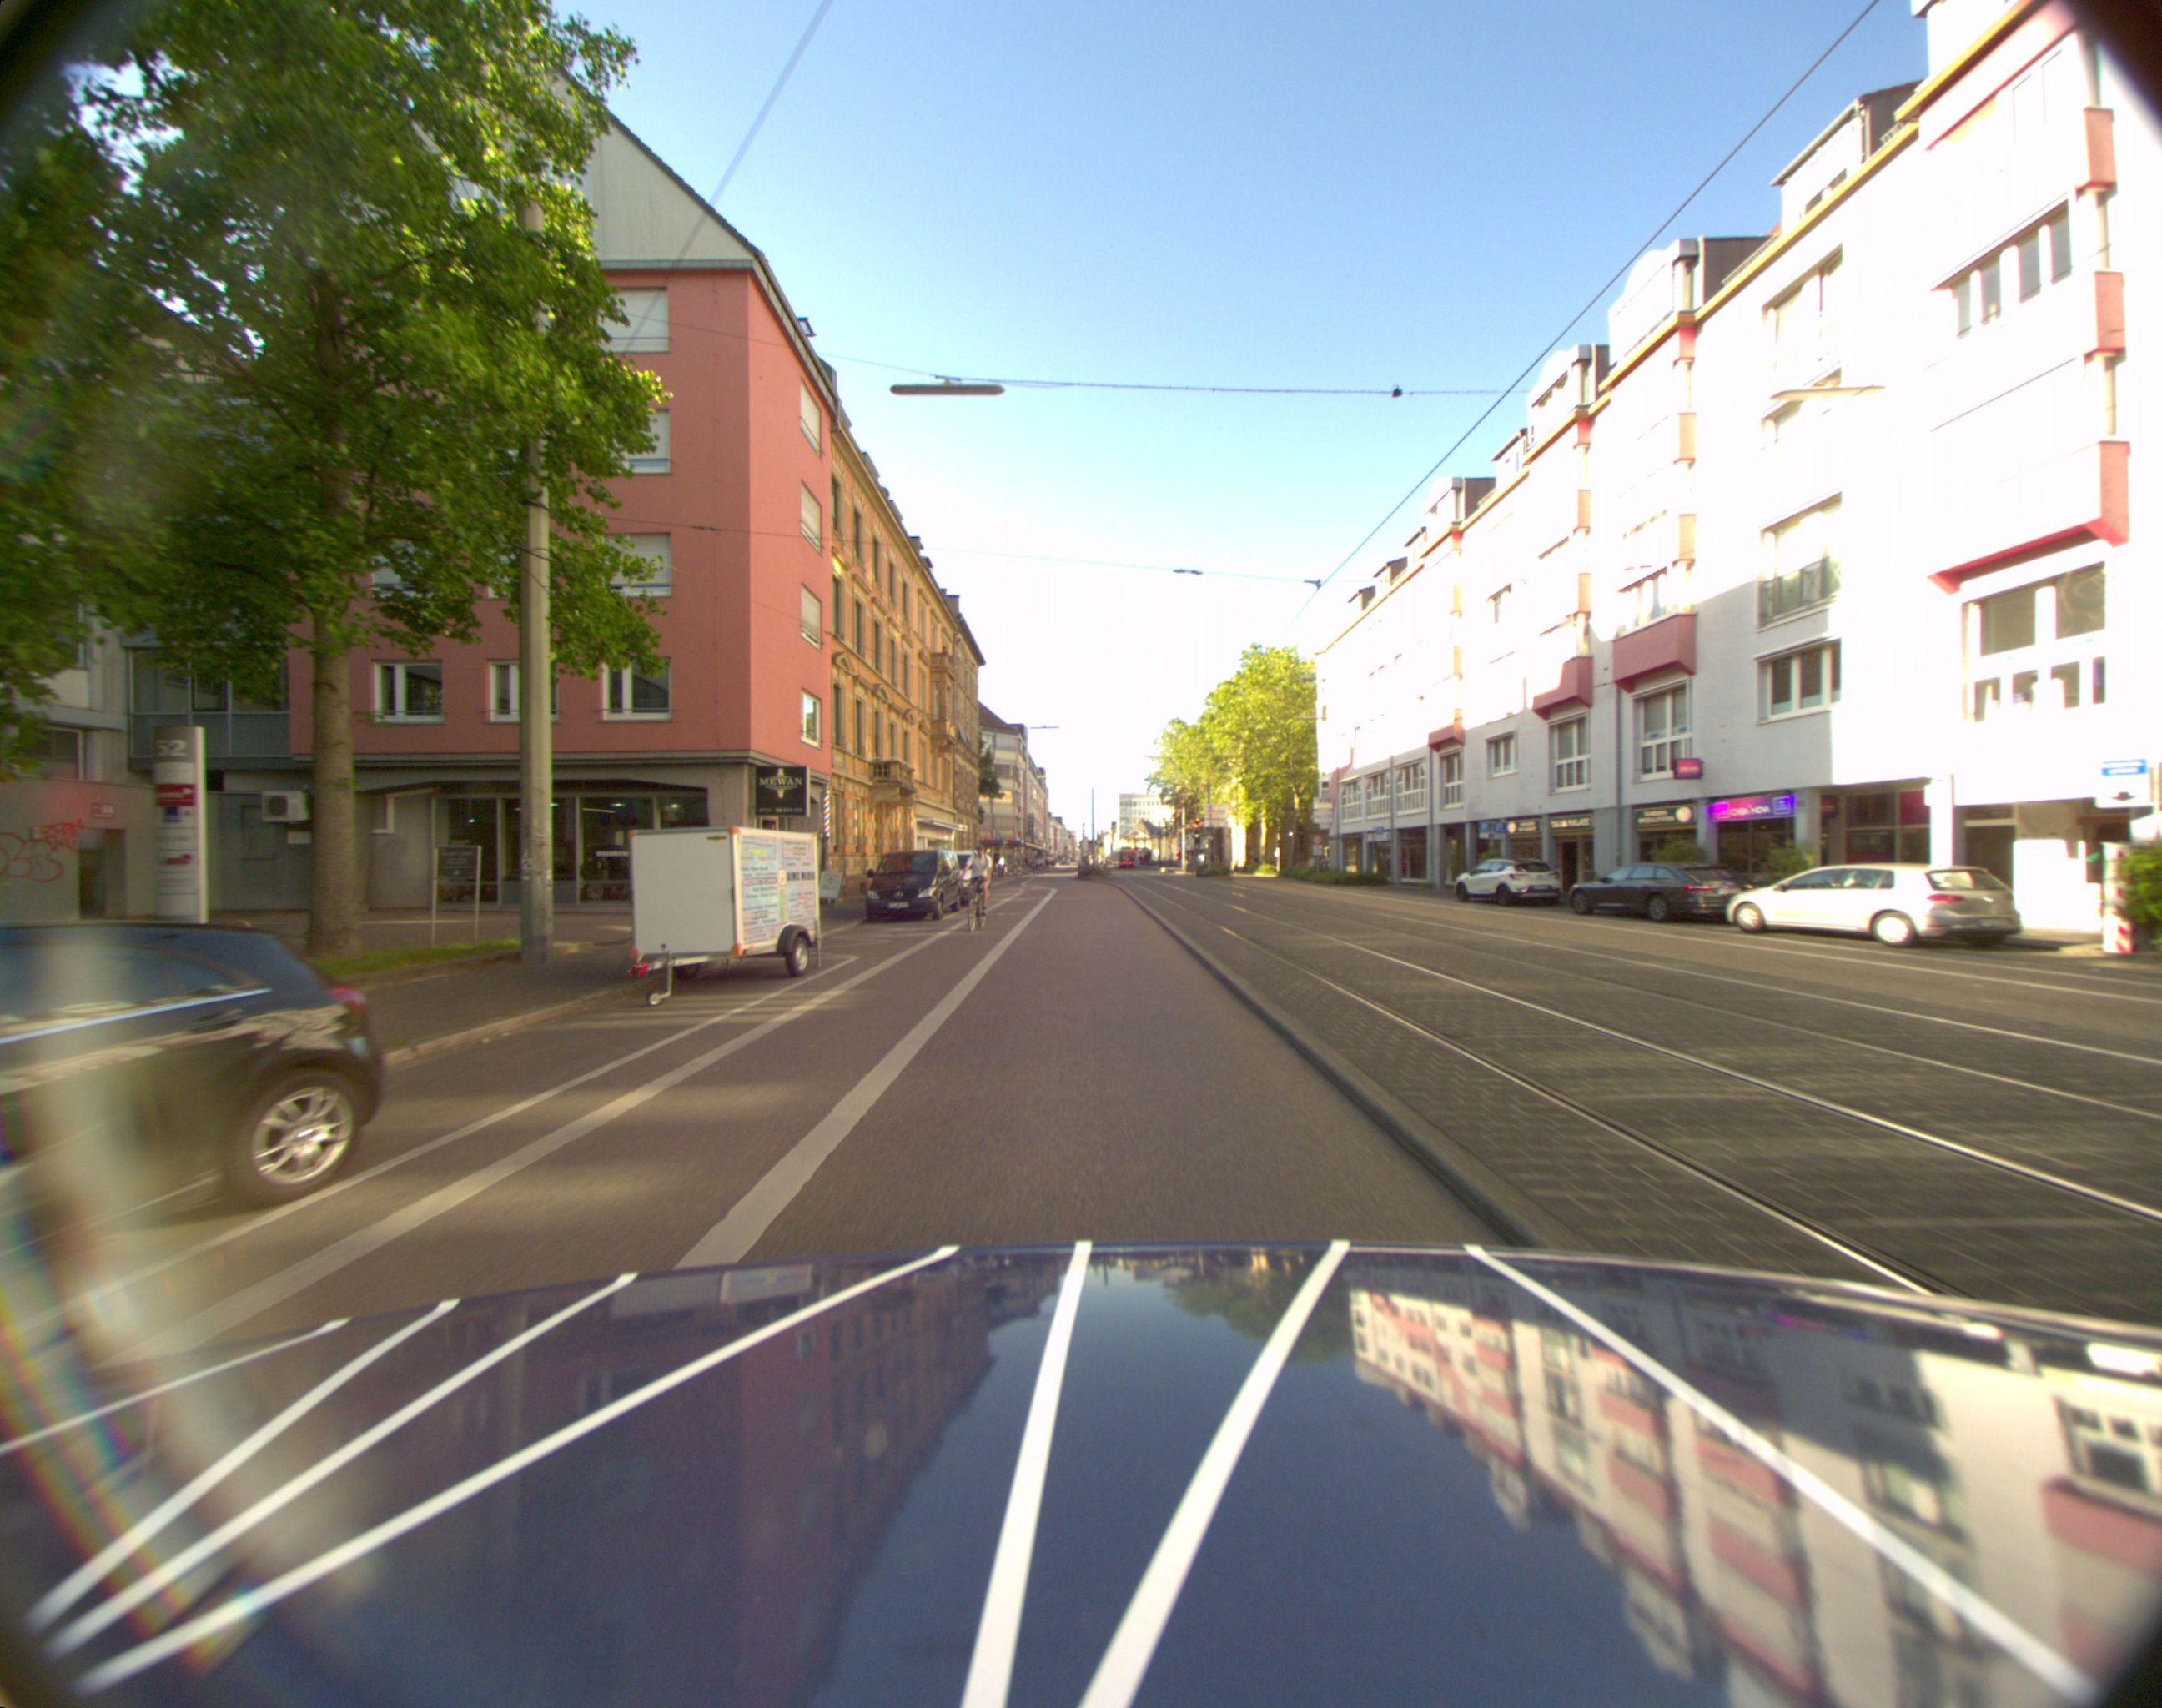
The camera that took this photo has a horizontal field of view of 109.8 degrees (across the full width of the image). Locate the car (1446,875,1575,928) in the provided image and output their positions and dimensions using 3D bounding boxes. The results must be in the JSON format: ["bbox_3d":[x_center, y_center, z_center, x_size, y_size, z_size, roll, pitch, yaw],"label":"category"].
[{"bbox_3d":[14.928,1.608,26.713,1.922,1.604,4.369,0,0,-2],"label":"car"}]

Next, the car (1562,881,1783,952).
[{"bbox_3d":[14.813,1.493,19.473,1.906,1.449,4.826,0,0,0],"label":"car"}]

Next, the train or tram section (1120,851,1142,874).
[{"bbox_3d":[8.318,1.544,128.857,2.981,3.622,16.490,-2,-1,2],"label":"train or tram section"}]

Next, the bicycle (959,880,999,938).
[{"bbox_3d":[-2.226,1.186,16.819,0.649,1.132,2.095,-1,0,-2],"label":"bicycle"}]

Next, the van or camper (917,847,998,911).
[{"bbox_3d":[-4.310,0.798,27.413,1.936,2.025,5.475,-2,0,0],"label":"van or camper"}]

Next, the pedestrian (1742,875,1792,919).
[{"bbox_3d":[19.066,1.179,21.116,0.673,1.180,0.780,0,0,-1],"label":"pedestrian"}]

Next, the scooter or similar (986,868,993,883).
[{"bbox_3d":[-7.907,1.847,65.681,0.392,1.281,1.520,0,-1,-15],"label":"scooter or similar"}]

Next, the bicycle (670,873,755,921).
[{"bbox_3d":[-9.173,1.045,18.979,0.426,1.126,1.885,1,0,42],"label":"bicycle"}]

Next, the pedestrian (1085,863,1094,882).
[{"bbox_3d":[0.703,1.525,63.830,0.519,1.581,0.667,-4,0,-9],"label":"pedestrian"}]

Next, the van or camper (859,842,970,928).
[{"bbox_3d":[-4.494,0.786,21.403,1.976,2.033,5.331,-2,0,-1],"label":"van or camper"}]

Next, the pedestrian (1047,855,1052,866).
[{"bbox_3d":[-4.885,0.978,118.767,0.669,1.718,0.810,2,0,0],"label":"pedestrian"}]

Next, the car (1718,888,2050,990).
[{"bbox_3d":[14.746,1.465,14.384,1.756,1.466,4.207,0,0,-2],"label":"car"}]

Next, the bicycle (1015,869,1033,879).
[{"bbox_3d":[-6.065,2.110,81.140,1.951,1.100,0.564,0,0,-1],"label":"bicycle"}]

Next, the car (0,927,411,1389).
[{"bbox_3d":[-4.611,1.151,2.019,1.807,1.426,4.323,-3,0,-1],"label":"car"}]

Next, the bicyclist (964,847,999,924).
[{"bbox_3d":[-2.183,0.678,16.740,0.657,1.646,0.927,-1,0,-3],"label":"bicyclist"}]

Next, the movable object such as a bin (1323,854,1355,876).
[{"bbox_3d":[23.823,0.996,70.119,2.644,2.002,1.177,0,0,24],"label":"movable object such as a bin"}]

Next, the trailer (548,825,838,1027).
[{"bbox_3d":[-4.749,0.779,10.010,1.665,2.104,3.843,-2,0,2],"label":"trailer"}]

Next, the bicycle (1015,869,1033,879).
[{"bbox_3d":[-6.040,2.106,80.492,1.951,1.100,0.564,0,0,-1],"label":"bicycle"}]

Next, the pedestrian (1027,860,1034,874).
[{"bbox_3d":[-6.173,1.559,92.685,0.746,1.717,0.815,-2,0,1],"label":"pedestrian"}]
